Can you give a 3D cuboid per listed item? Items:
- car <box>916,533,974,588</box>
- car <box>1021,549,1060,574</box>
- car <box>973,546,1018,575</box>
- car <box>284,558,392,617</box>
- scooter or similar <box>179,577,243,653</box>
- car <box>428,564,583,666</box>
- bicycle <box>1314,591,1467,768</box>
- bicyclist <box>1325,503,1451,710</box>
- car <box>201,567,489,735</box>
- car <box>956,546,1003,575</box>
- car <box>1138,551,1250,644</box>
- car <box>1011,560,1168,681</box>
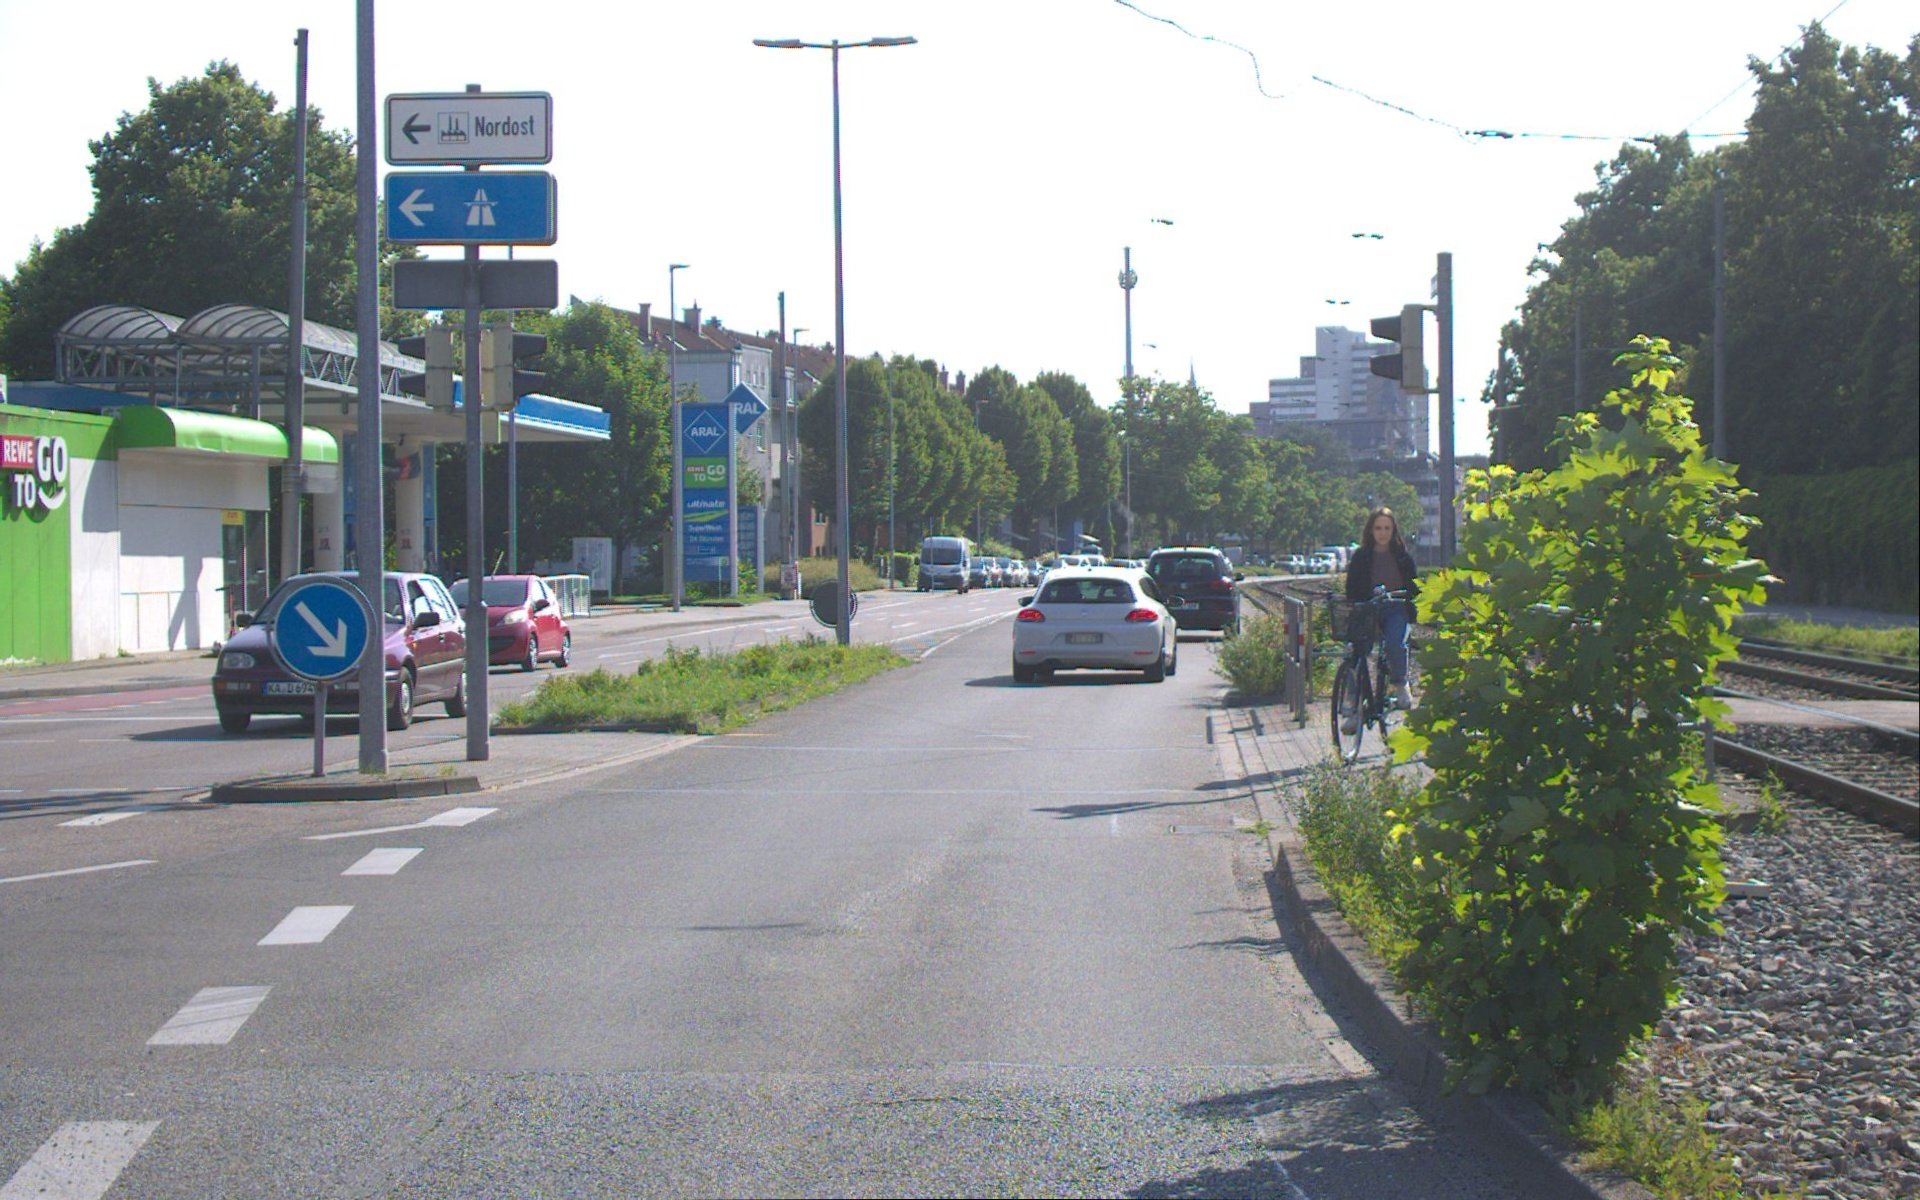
[{"bbox_3d":[-0.651,-1.790,154.247,1.994,2.368,4.537,-1,1,7],"label":"car"},{"bbox_3d":[4.775,-2.299,203.460,1.994,1.411,3.843,-1,1,6],"label":"car"},{"bbox_3d":[1.892,-2.088,181.220,1.994,1.411,3.843,-1,1,6],"label":"car"},{"bbox_3d":[-15.586,-0.321,86.319,1.744,1.388,4.120,-1,1,3],"label":"car"},{"bbox_3d":[-12.228,0.243,56.144,0.532,1.170,1.309,4,1,7],"label":"scooter or similar"},{"bbox_3d":[-6.645,0.193,50.547,1.574,1.412,3.333,-1,1,5],"label":"car"},{"bbox_3d":[3.042,0.535,24.161,0.644,1.150,1.935,-1,1,20],"label":"bicycle"},{"bbox_3d":[3.007,0.032,24.082,0.644,1.411,1.012,-1,1,20],"label":"bicyclist"},{"bbox_3d":[-5.577,0.420,31.631,1.653,1.390,4.134,-1,1,4],"label":"car"},{"bbox_3d":[1.014,-2.026,175.365,1.994,1.411,3.843,-1,1,6],"label":"car"},{"bbox_3d":[4.168,-0.069,61.572,1.724,1.587,3.601,1,1,0],"label":"car"},{"bbox_3d":[1.618,0.217,42.030,1.781,1.351,3.601,1,1,4],"label":"car"}]
